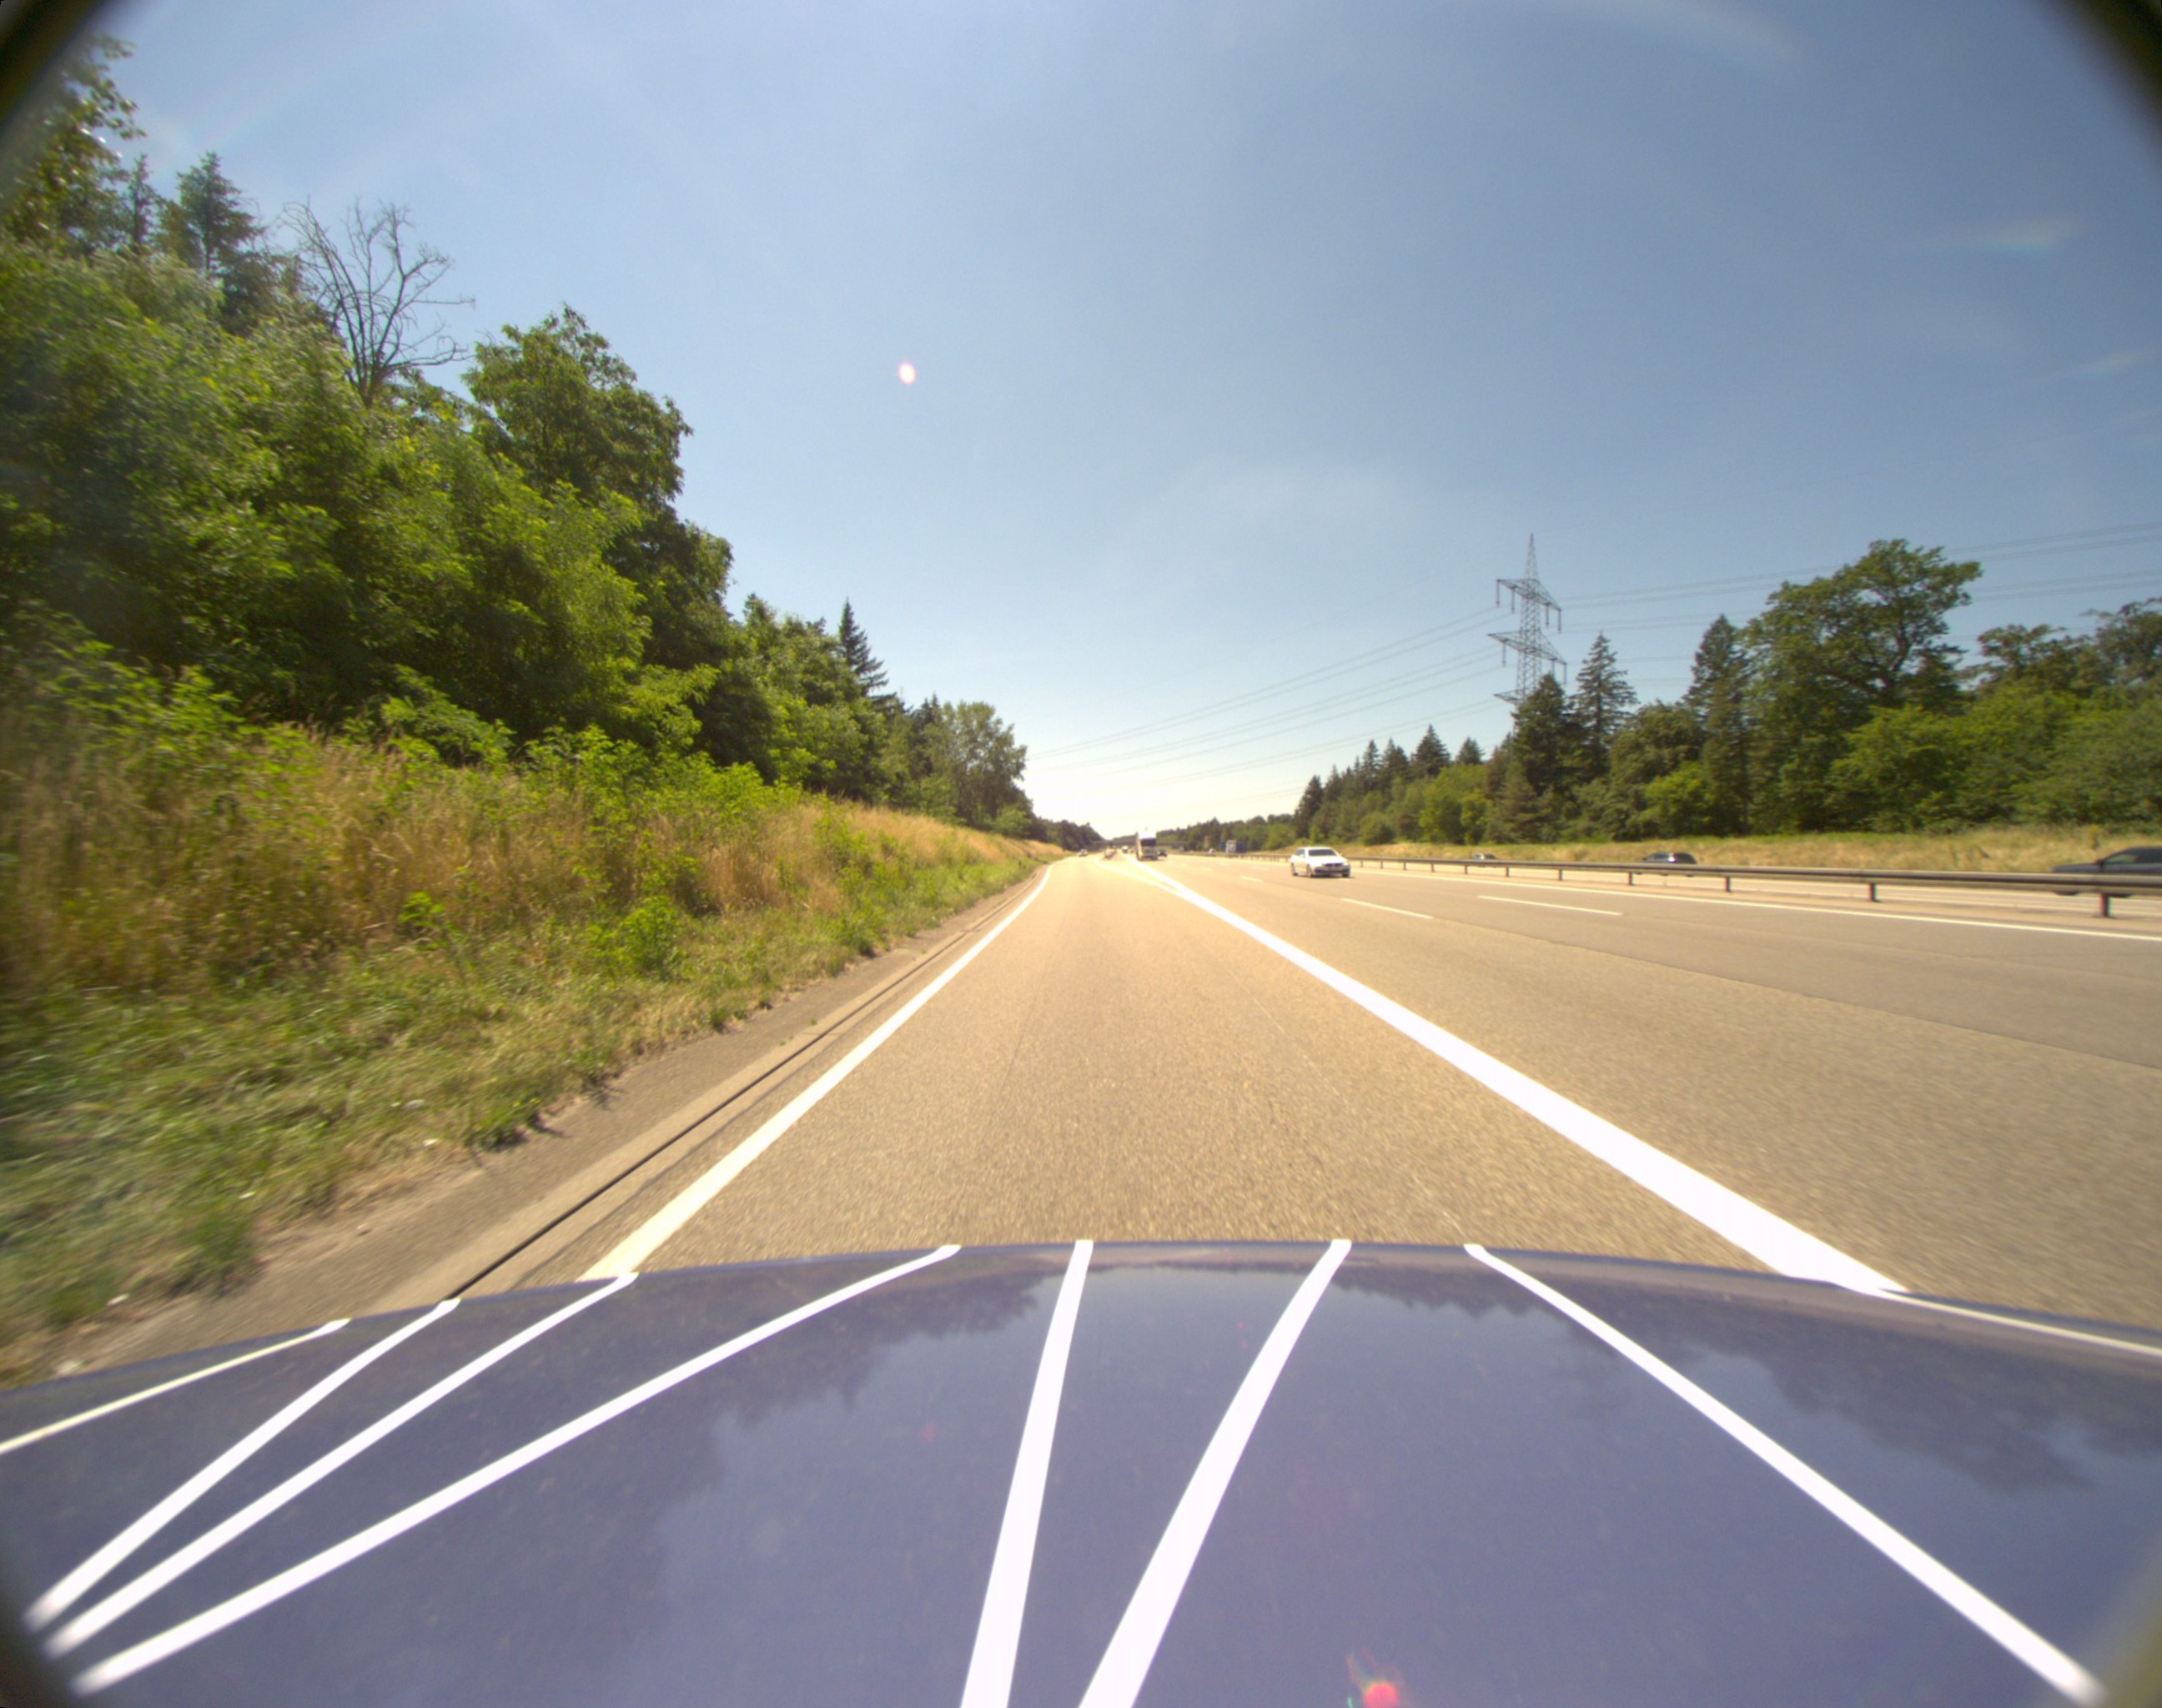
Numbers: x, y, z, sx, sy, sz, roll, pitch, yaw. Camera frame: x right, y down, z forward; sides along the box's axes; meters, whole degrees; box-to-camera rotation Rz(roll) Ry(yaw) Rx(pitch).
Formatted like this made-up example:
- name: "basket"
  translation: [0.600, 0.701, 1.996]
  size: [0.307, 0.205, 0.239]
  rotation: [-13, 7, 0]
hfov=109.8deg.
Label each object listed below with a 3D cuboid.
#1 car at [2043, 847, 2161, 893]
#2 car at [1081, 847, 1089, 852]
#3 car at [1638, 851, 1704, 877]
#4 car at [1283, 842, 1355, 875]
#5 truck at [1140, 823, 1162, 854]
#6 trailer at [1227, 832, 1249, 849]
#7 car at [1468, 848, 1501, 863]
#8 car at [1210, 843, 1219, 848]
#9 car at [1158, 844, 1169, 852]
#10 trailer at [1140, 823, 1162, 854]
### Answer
- name: "car"
  translation: [34.894, 0.497, 24.706]
  size: [1.793, 1.412, 4.436]
  rotation: [-1, 1, 4]
- name: "car"
  translation: [1.035, -1.235, 210.067]
  size: [1.898, 1.417, 4.262]
  rotation: [-2, 0, 5]
- name: "car"
  translation: [38.746, 0.626, 50.026]
  size: [1.562, 1.518, 4.001]
  rotation: [-2, 1, 6]
- name: "car"
  translation: [11.574, 0.163, 37.408]
  size: [1.968, 1.495, 5.404]
  rotation: [-1, 1, 1]
- name: "truck"
  translation: [9.526, -2.091, 103.752]
  size: [2.979, 4.118, 5.350]
  rotation: [0, 0, 5]
- name: "trailer"
  translation: [39.721, -3.348, 192.448]
  size: [3.210, 4.148, 13.984]
  rotation: [1, 1, 2]
- name: "car"
  translation: [41.131, 0.144, 77.496]
  size: [1.625, 1.469, 3.567]
  rotation: [0, 1, 3]
- name: "car"
  translation: [36.157, -2.238, 205.233]
  size: [1.765, 1.395, 4.434]
  rotation: [1, 0, 1]
- name: "car"
  translation: [16.136, -1.135, 149.063]
  size: [1.898, 1.417, 4.262]
  rotation: [-2, 0, 5]
- name: "trailer"
  translation: [10.007, -2.108, 109.400]
  size: [2.981, 4.118, 11.699]
  rotation: [0, 0, 5]
